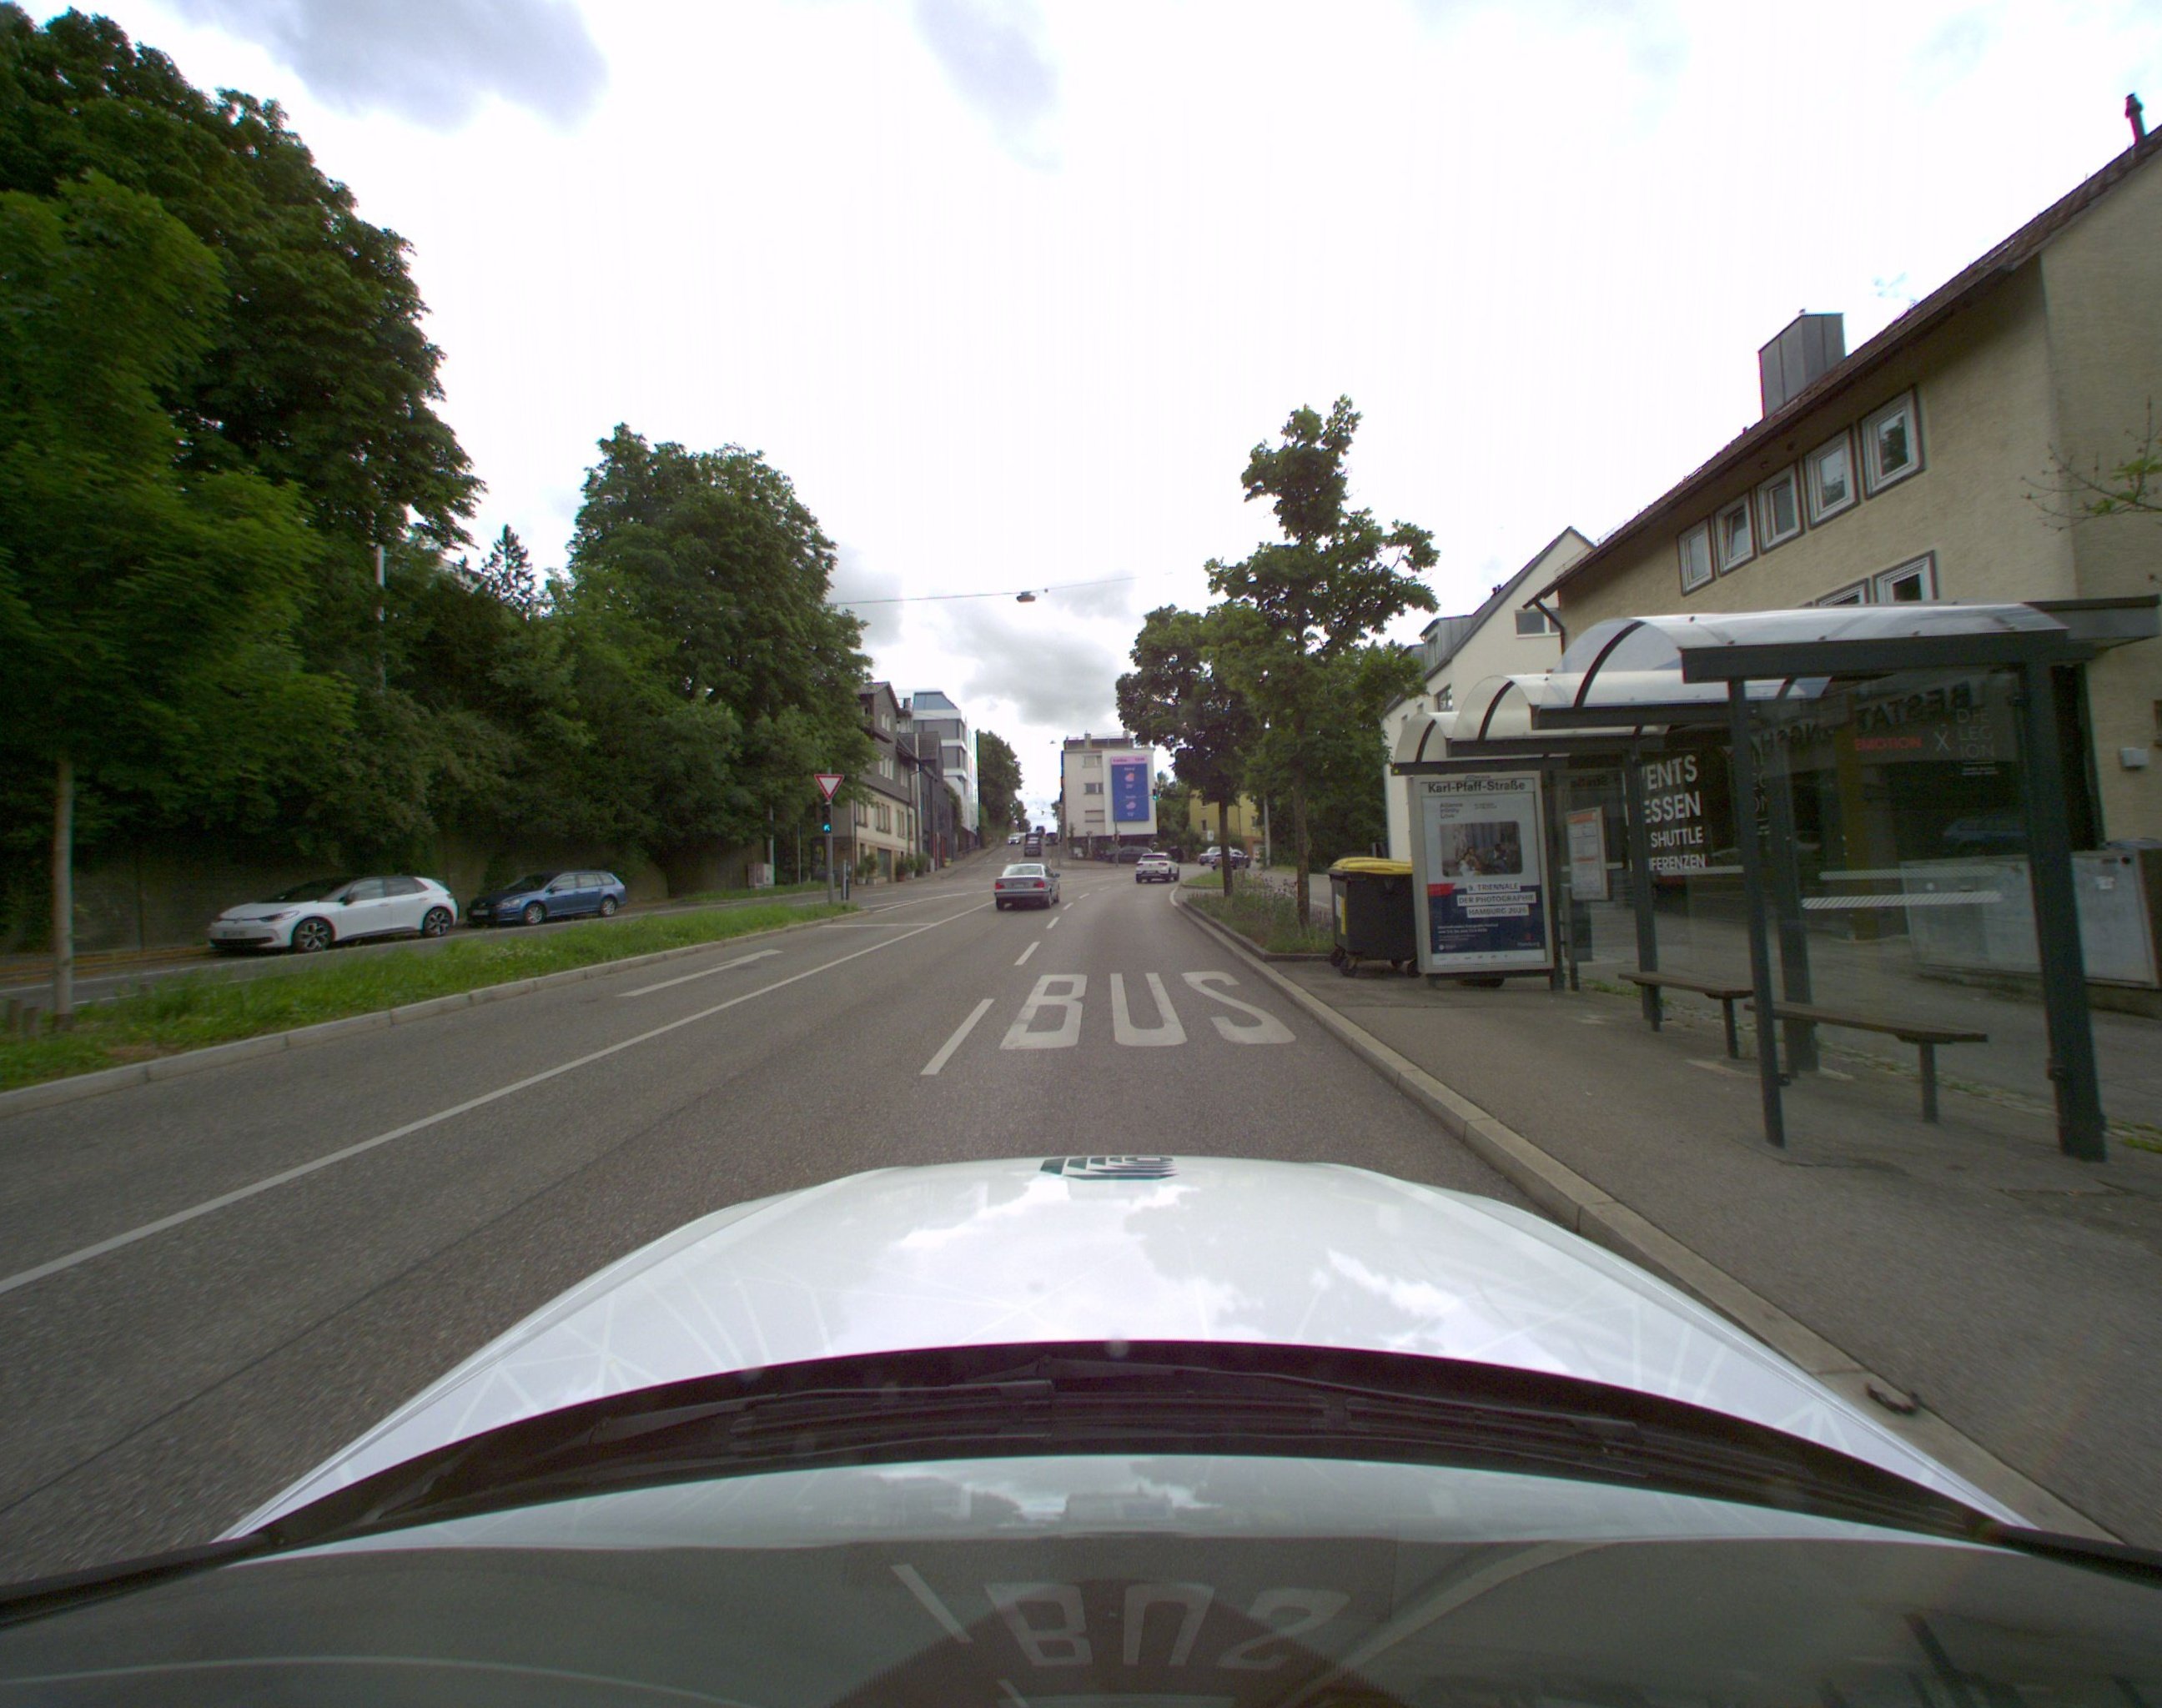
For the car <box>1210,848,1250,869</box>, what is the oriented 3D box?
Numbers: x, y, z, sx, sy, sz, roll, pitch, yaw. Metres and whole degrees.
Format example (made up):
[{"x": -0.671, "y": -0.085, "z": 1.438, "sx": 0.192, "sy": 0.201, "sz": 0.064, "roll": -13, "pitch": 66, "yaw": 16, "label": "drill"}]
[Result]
[{"x": 10.775, "y": 0.334, "z": 58.796, "sx": 1.763, "sy": 1.409, "sz": 4.024, "roll": -1, "pitch": 1, "yaw": 27, "label": "car"}]

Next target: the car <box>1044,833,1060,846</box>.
[{"x": -3.989, "y": -2.008, "z": 112.089, "sx": 2.083, "sy": 1.613, "sz": 3.999, "roll": -2, "pitch": 0, "yaw": 0, "label": "car"}]

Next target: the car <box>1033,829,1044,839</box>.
[{"x": -7.516, "y": -3.548, "z": 143.946, "sx": 1.775, "sy": 1.579, "sz": 3.998, "roll": -2, "pitch": 0, "yaw": -1, "label": "car"}]

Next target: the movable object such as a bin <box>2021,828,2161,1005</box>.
[{"x": 9.761, "y": 0.503, "z": 5.708, "sx": 1.880, "sy": 1.451, "sz": 4.005, "roll": -2, "pitch": 0, "yaw": 4, "label": "movable object such as a bin"}]

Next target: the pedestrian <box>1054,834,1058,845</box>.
[{"x": -3.341, "y": -1.955, "z": 110.522, "sx": 0.456, "sy": 1.529, "sz": 0.527, "roll": -2, "pitch": -1, "yaw": 0, "label": "pedestrian"}]

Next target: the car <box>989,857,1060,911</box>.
[{"x": -1.694, "y": 0.875, "z": 25.514, "sx": 1.699, "sy": 1.464, "sz": 4.004, "roll": -1, "pitch": 1, "yaw": 3, "label": "car"}]

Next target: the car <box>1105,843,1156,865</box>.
[{"x": 4.662, "y": -0.019, "z": 77.252, "sx": 4.675, "sy": 1.712, "sz": 2.318, "roll": 2, "pitch": 3, "yaw": -2, "label": "car"}]

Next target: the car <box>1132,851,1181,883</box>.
[{"x": 4.086, "y": 0.657, "z": 43.461, "sx": 1.766, "sy": 1.579, "sz": 4.018, "roll": -2, "pitch": 0, "yaw": 17, "label": "car"}]

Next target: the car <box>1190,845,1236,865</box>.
[{"x": 11.769, "y": 0.076, "z": 72.415, "sx": 1.878, "sy": 1.695, "sz": 4.374, "roll": -2, "pitch": 0, "yaw": 43, "label": "car"}]

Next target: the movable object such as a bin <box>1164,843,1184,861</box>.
[{"x": 9.397, "y": -0.226, "z": 82.119, "sx": 1.751, "sy": 1.779, "sz": 1.861, "roll": -2, "pitch": 0, "yaw": 11, "label": "movable object such as a bin"}]

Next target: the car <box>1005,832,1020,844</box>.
[{"x": -10.100, "y": -2.384, "z": 120.466, "sx": 1.878, "sy": 1.567, "sz": 4.387, "roll": -2, "pitch": 3, "yaw": -2, "label": "car"}]

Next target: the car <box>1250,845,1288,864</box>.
[{"x": 16.877, "y": 0.029, "z": 72.995, "sx": 1.762, "sy": 1.579, "sz": 4.026, "roll": -1, "pitch": 0, "yaw": 39, "label": "car"}]

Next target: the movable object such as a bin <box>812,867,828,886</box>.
[{"x": -14.464, "y": 1.232, "z": 45.201, "sx": 0.573, "sy": 1.019, "sz": 0.649, "roll": -2, "pitch": -2, "yaw": 15, "label": "movable object such as a bin"}]

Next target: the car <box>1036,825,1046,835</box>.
[{"x": -8.502, "y": -4.977, "z": 172.228, "sx": 1.988, "sy": 2.013, "sz": 3.998, "roll": -1, "pitch": 1, "yaw": -2, "label": "car"}]

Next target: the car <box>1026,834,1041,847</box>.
[{"x": -6.597, "y": -1.865, "z": 113.351, "sx": 1.775, "sy": 1.579, "sz": 3.998, "roll": -4, "pitch": 0, "yaw": -1, "label": "car"}]

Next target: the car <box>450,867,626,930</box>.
[{"x": -15.583, "y": 1.221, "z": 23.683, "sx": 1.701, "sy": 1.528, "sz": 4.314, "roll": -1, "pitch": 1, "yaw": 10, "label": "car"}]

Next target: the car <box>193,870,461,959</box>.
[{"x": -16.521, "y": 1.244, "z": 18.192, "sx": 1.770, "sy": 1.629, "sz": 4.179, "roll": -1, "pitch": 1, "yaw": 7, "label": "car"}]

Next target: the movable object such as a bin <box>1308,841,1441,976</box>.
[{"x": 3.467, "y": 0.603, "z": 9.808, "sx": 1.081, "sy": 1.481, "sz": 1.538, "roll": -2, "pitch": 0, "yaw": 3, "label": "movable object such as a bin"}]

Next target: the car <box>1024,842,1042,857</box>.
[{"x": -5.124, "y": -0.498, "z": 87.819, "sx": 1.775, "sy": 1.579, "sz": 3.998, "roll": -1, "pitch": 1, "yaw": -1, "label": "car"}]

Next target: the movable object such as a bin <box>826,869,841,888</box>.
[{"x": -13.645, "y": 1.349, "z": 44.936, "sx": 0.534, "sy": 1.019, "sz": 0.649, "roll": -2, "pitch": -2, "yaw": 15, "label": "movable object such as a bin"}]
